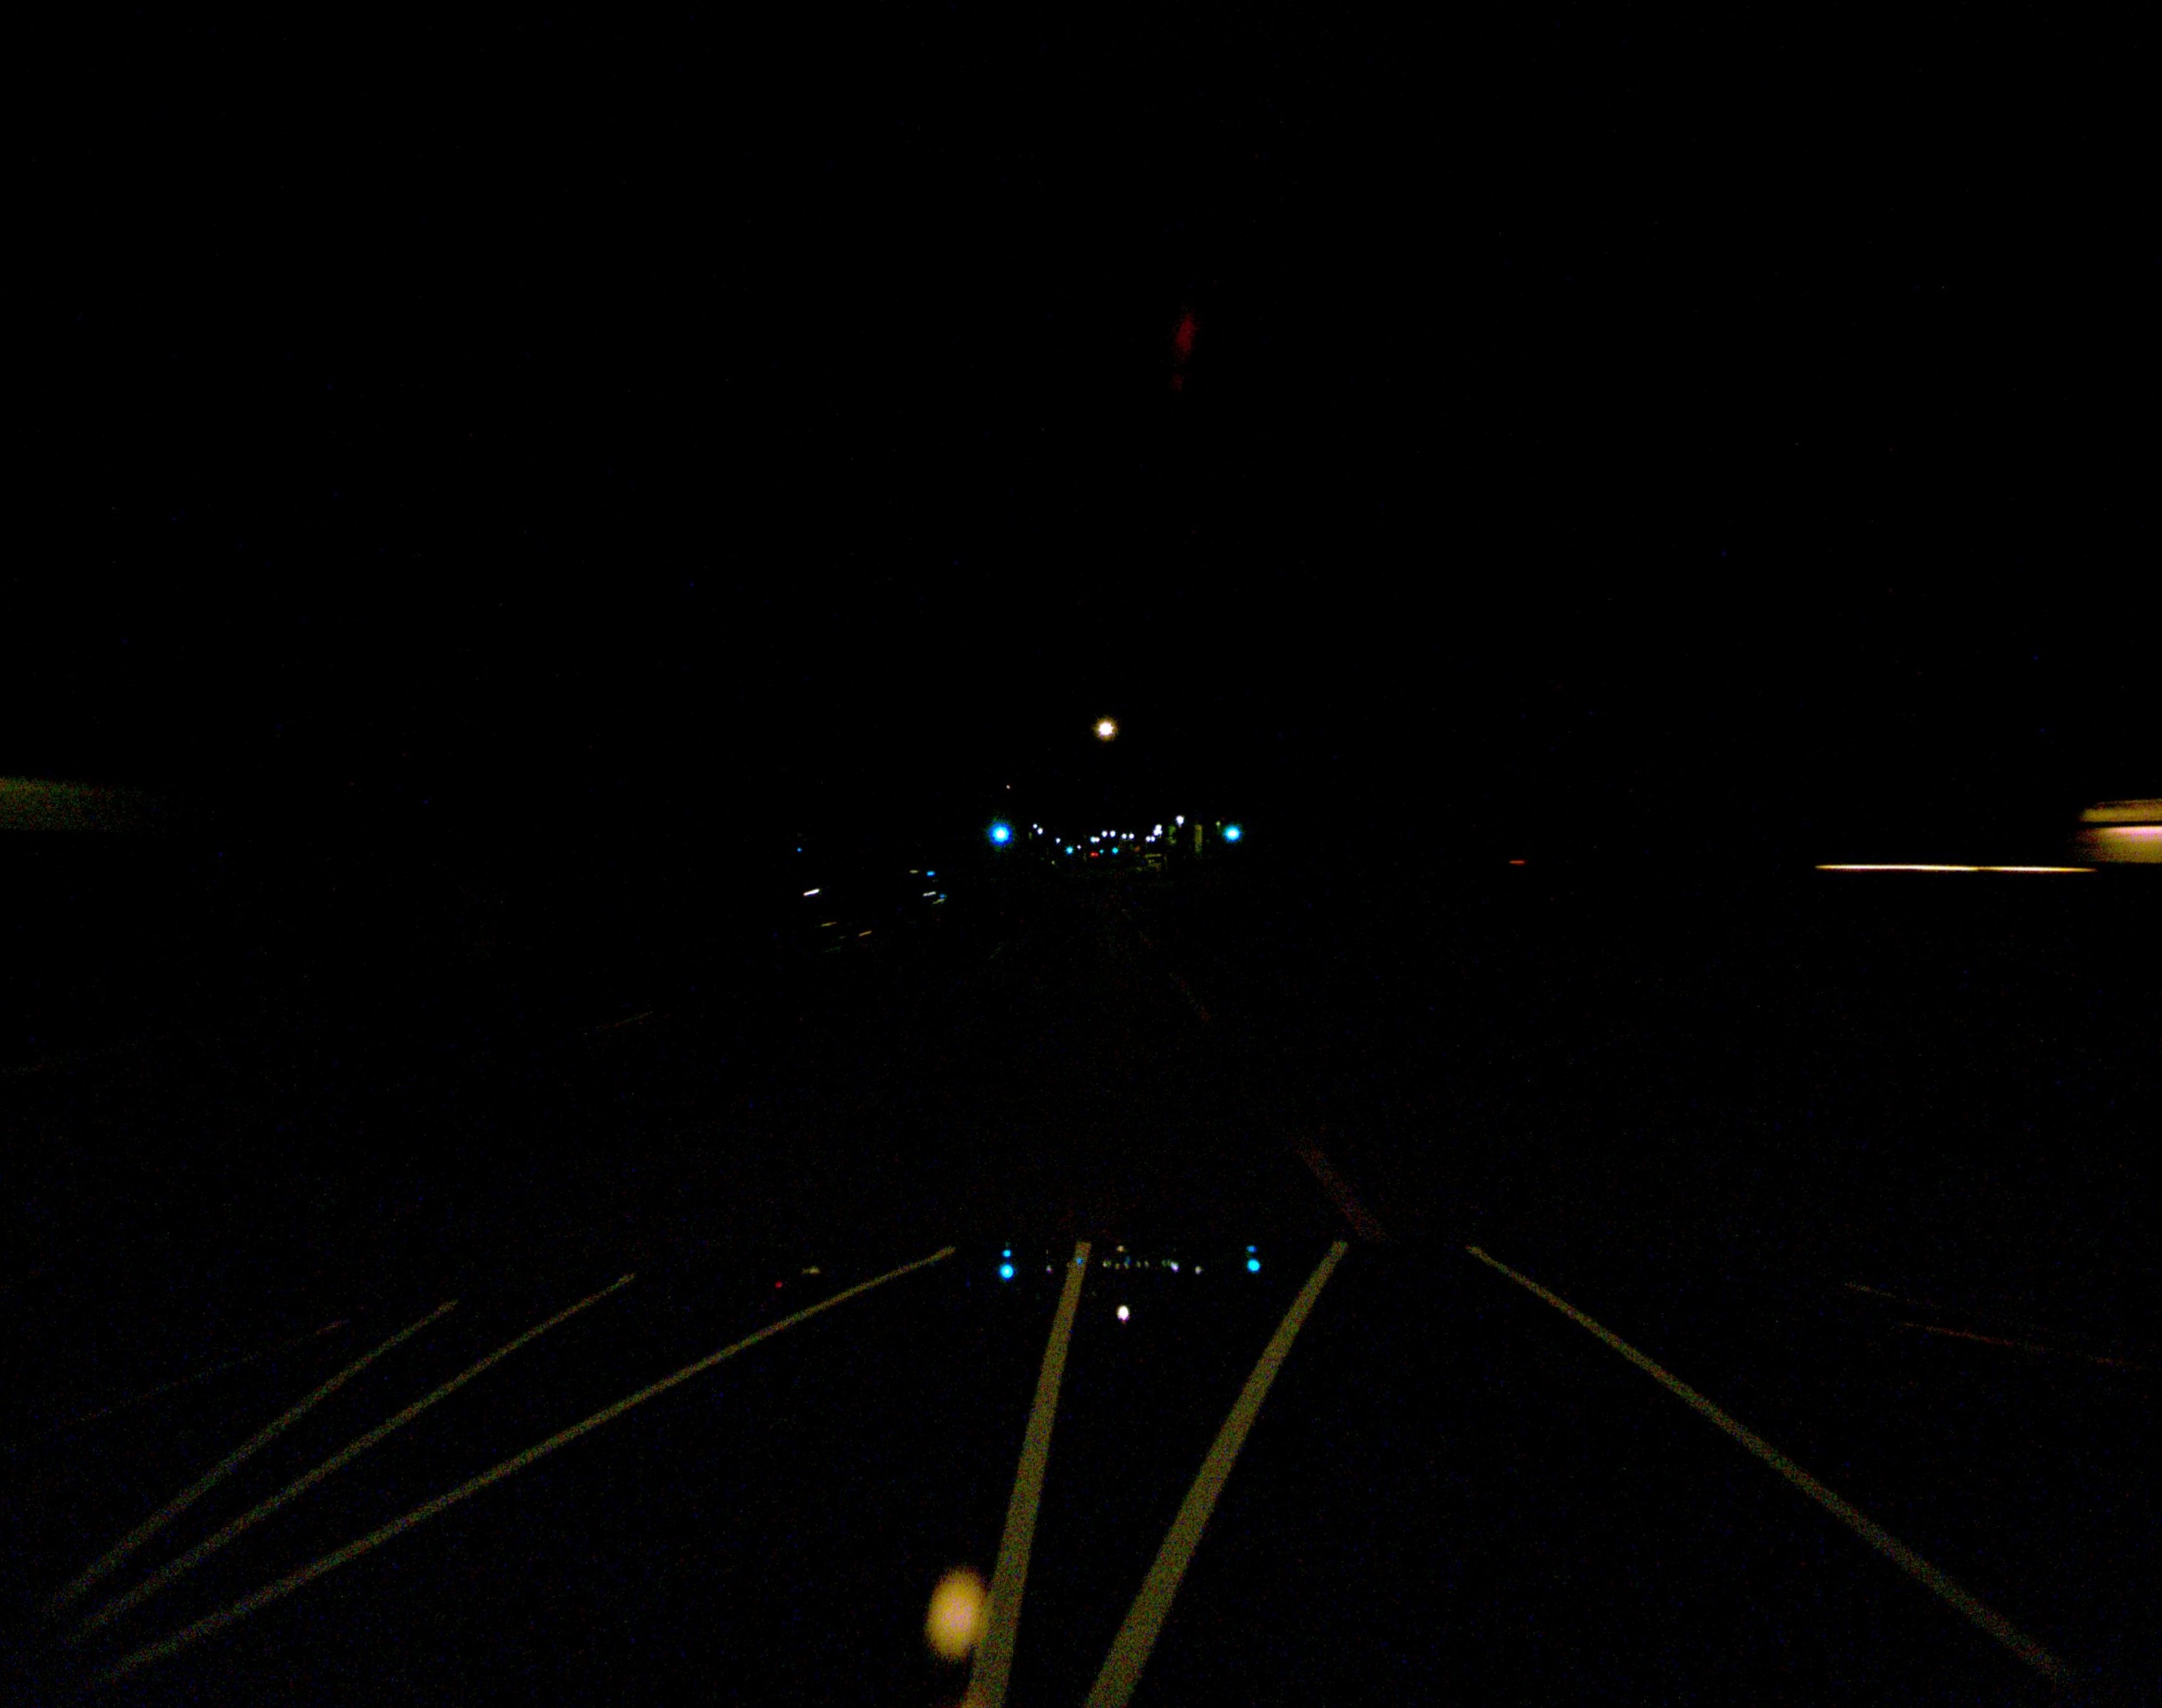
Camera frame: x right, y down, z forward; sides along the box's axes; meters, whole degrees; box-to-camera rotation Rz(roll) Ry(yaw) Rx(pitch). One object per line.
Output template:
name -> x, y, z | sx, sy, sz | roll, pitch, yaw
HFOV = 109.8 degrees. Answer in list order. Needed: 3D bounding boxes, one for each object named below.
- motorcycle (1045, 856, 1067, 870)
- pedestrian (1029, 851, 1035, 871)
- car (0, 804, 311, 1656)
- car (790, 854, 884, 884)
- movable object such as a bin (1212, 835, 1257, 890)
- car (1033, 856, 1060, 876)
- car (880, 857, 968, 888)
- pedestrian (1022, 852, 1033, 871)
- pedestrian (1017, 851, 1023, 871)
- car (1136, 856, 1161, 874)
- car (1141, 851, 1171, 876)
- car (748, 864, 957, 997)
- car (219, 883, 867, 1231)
motorcycle -> -2.414, 0.861, 72.849 | 1.948, 1.345, 0.761 | 0, 1, -35
pedestrian -> -4.207, 0.605, 65.373 | 0.508, 1.699, 0.705 | 1, 1, 1
car -> -3.168, 0.802, 0.125 | 1.740, 1.844, 4.315 | 1, 0, -1
car -> -12.448, 0.746, 38.959 | 4.203, 1.459, 1.851 | 1, 0, -3
movable object such as a bin -> 7.755, 0.402, 38.685 | 1.575, 2.611, 3.910 | 1, 0, 1
car -> -2.626, 0.899, 59.305 | 1.740, 1.445, 4.000 | 1, 0, 3
car -> -7.751, 0.903, 37.850 | 4.025, 1.414, 1.851 | 0, 2, -1
pedestrian -> -4.770, 0.645, 67.587 | 0.809, 1.622, 0.966 | -1, 1, 1
pedestrian -> -5.238, 0.616, 65.368 | 0.478, 1.699, 0.571 | 1, 1, 1
car -> 5.694, 0.891, 64.720 | 1.843, 1.441, 4.881 | -1, 1, 2
car -> 5.847, 0.719, 59.587 | 1.888, 1.832, 4.814 | 0, 0, 0
car -> -3.076, 0.947, 11.135 | 1.744, 1.469, 4.000 | 3, 0, 1
car -> -3.113, 1.025, 5.728 | 1.690, 1.412, 4.443 | 1, 0, 0
